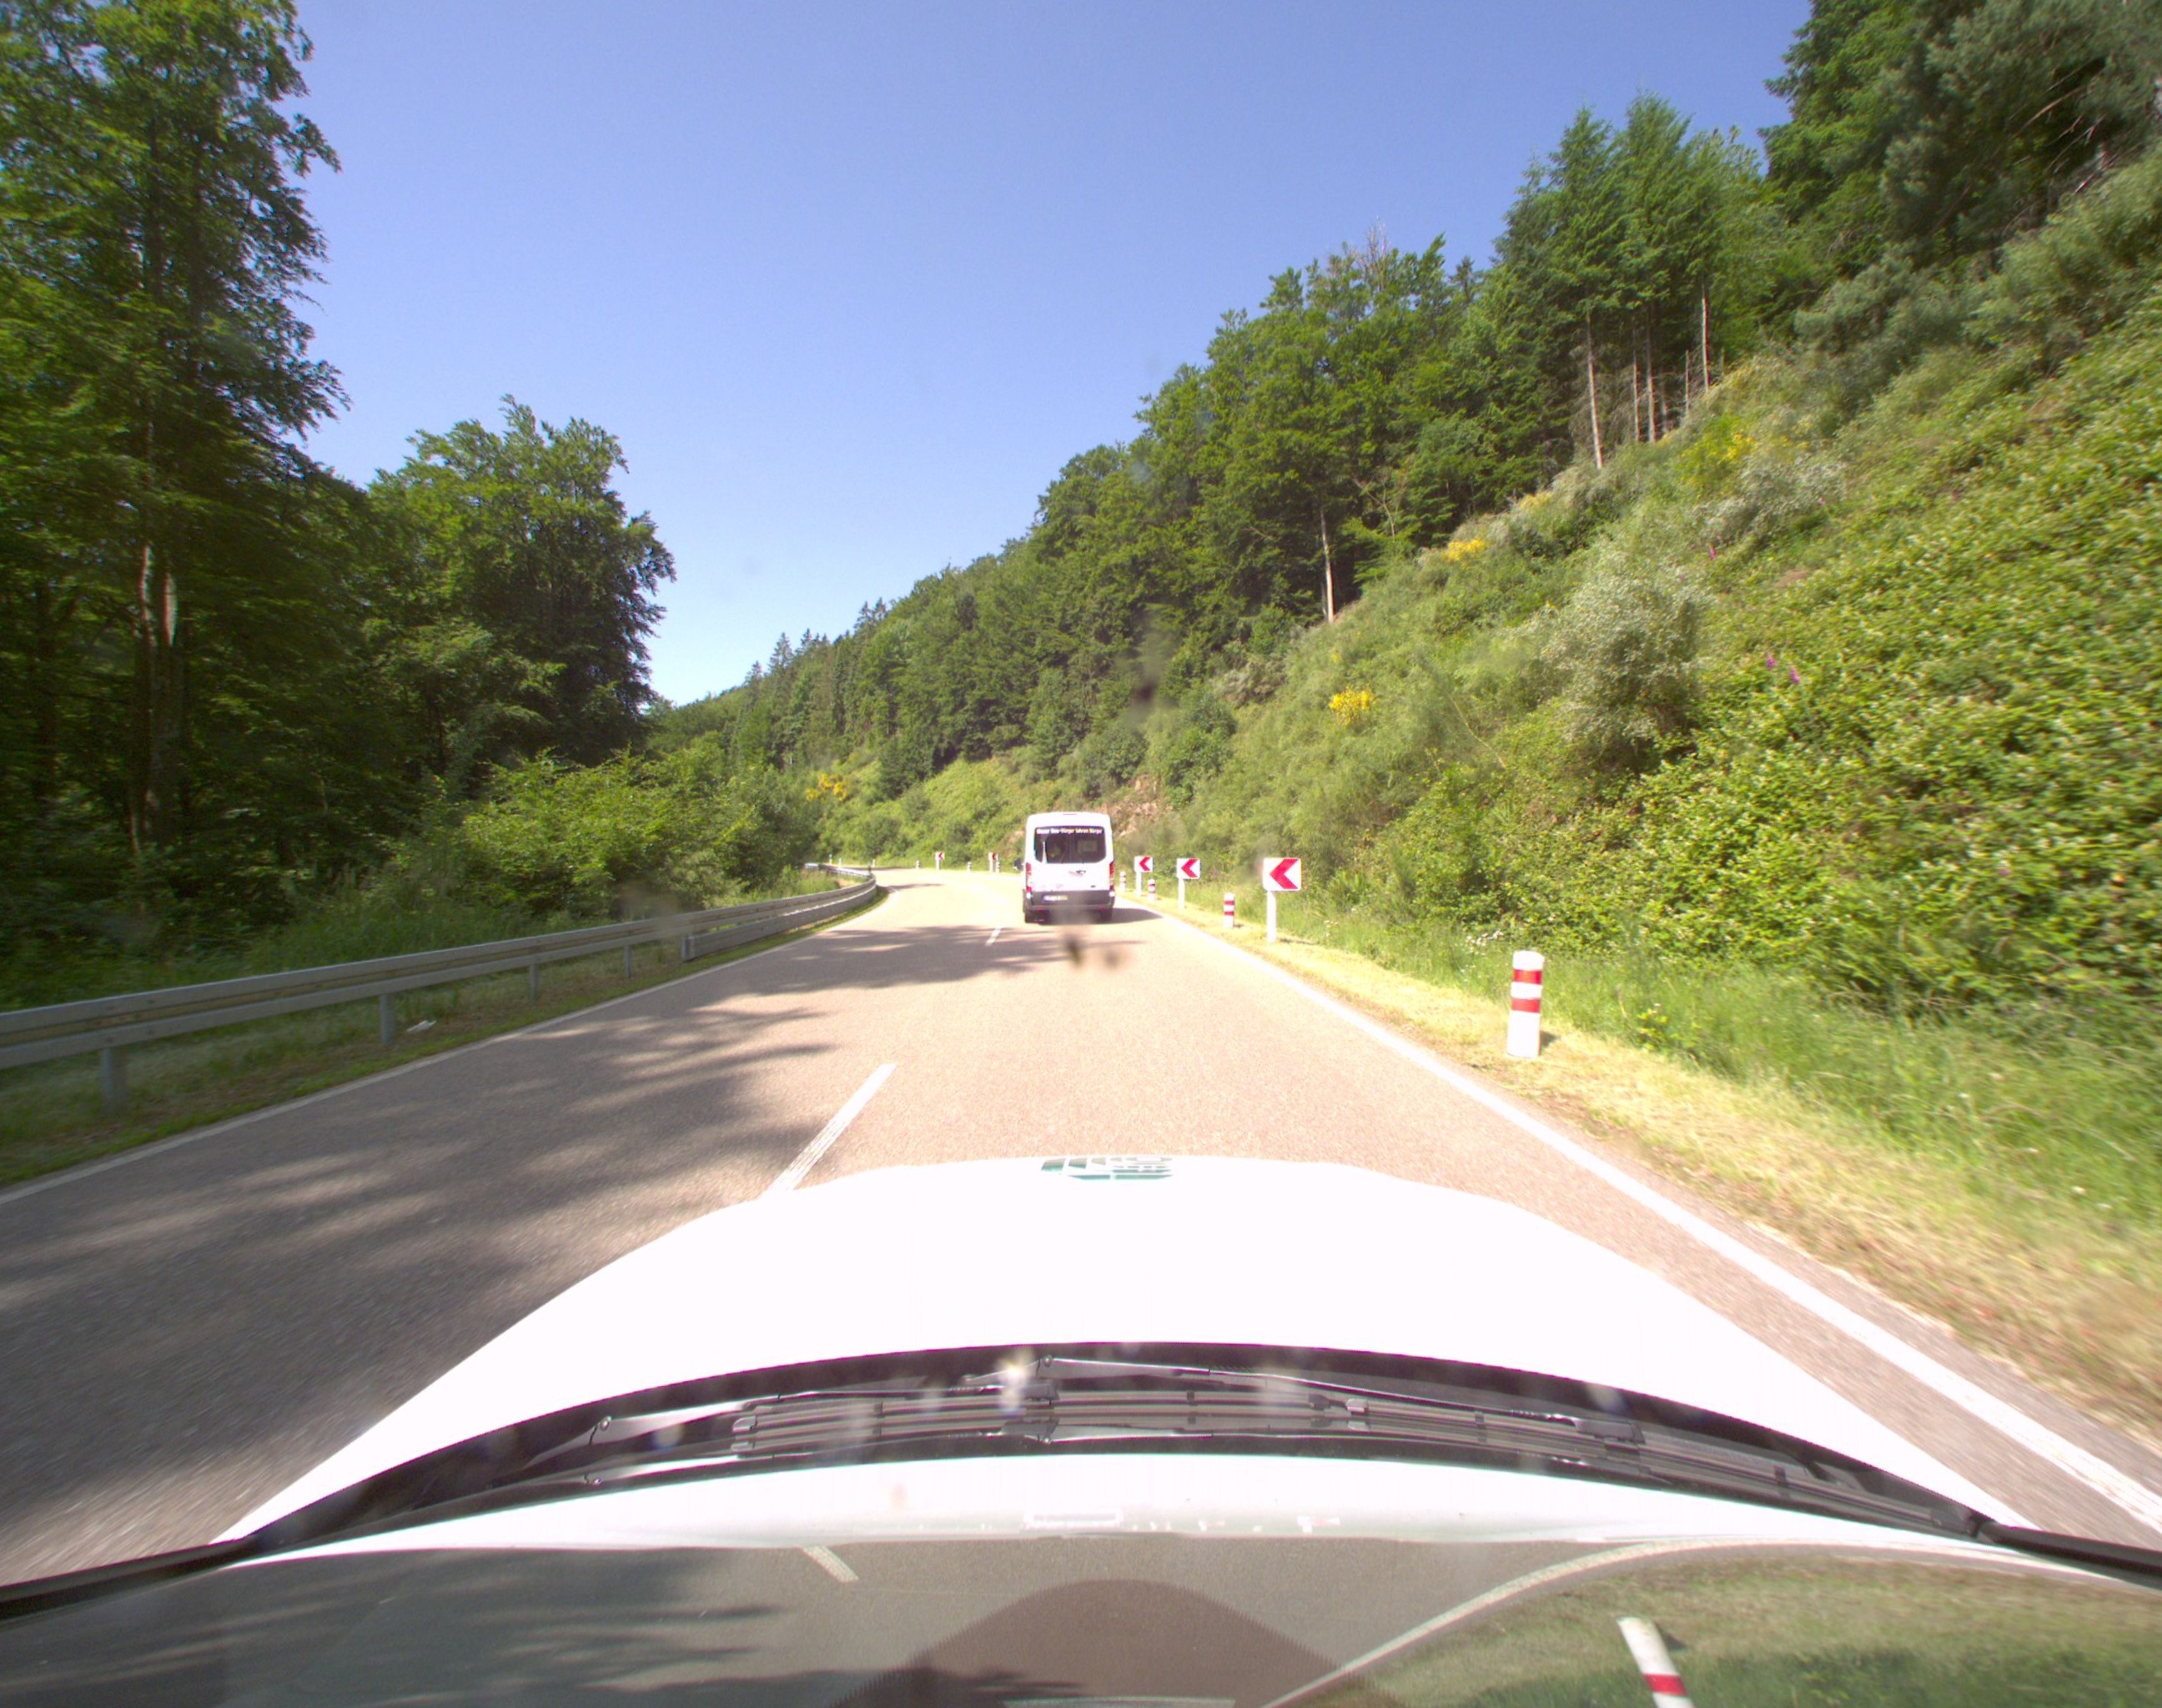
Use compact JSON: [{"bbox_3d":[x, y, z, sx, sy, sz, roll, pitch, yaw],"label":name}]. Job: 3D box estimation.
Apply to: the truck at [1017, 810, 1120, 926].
[{"bbox_3d":[-0.450,0.292,19.916,2.081,2.459,4.865,-1,0,-6],"label":"truck"}]
